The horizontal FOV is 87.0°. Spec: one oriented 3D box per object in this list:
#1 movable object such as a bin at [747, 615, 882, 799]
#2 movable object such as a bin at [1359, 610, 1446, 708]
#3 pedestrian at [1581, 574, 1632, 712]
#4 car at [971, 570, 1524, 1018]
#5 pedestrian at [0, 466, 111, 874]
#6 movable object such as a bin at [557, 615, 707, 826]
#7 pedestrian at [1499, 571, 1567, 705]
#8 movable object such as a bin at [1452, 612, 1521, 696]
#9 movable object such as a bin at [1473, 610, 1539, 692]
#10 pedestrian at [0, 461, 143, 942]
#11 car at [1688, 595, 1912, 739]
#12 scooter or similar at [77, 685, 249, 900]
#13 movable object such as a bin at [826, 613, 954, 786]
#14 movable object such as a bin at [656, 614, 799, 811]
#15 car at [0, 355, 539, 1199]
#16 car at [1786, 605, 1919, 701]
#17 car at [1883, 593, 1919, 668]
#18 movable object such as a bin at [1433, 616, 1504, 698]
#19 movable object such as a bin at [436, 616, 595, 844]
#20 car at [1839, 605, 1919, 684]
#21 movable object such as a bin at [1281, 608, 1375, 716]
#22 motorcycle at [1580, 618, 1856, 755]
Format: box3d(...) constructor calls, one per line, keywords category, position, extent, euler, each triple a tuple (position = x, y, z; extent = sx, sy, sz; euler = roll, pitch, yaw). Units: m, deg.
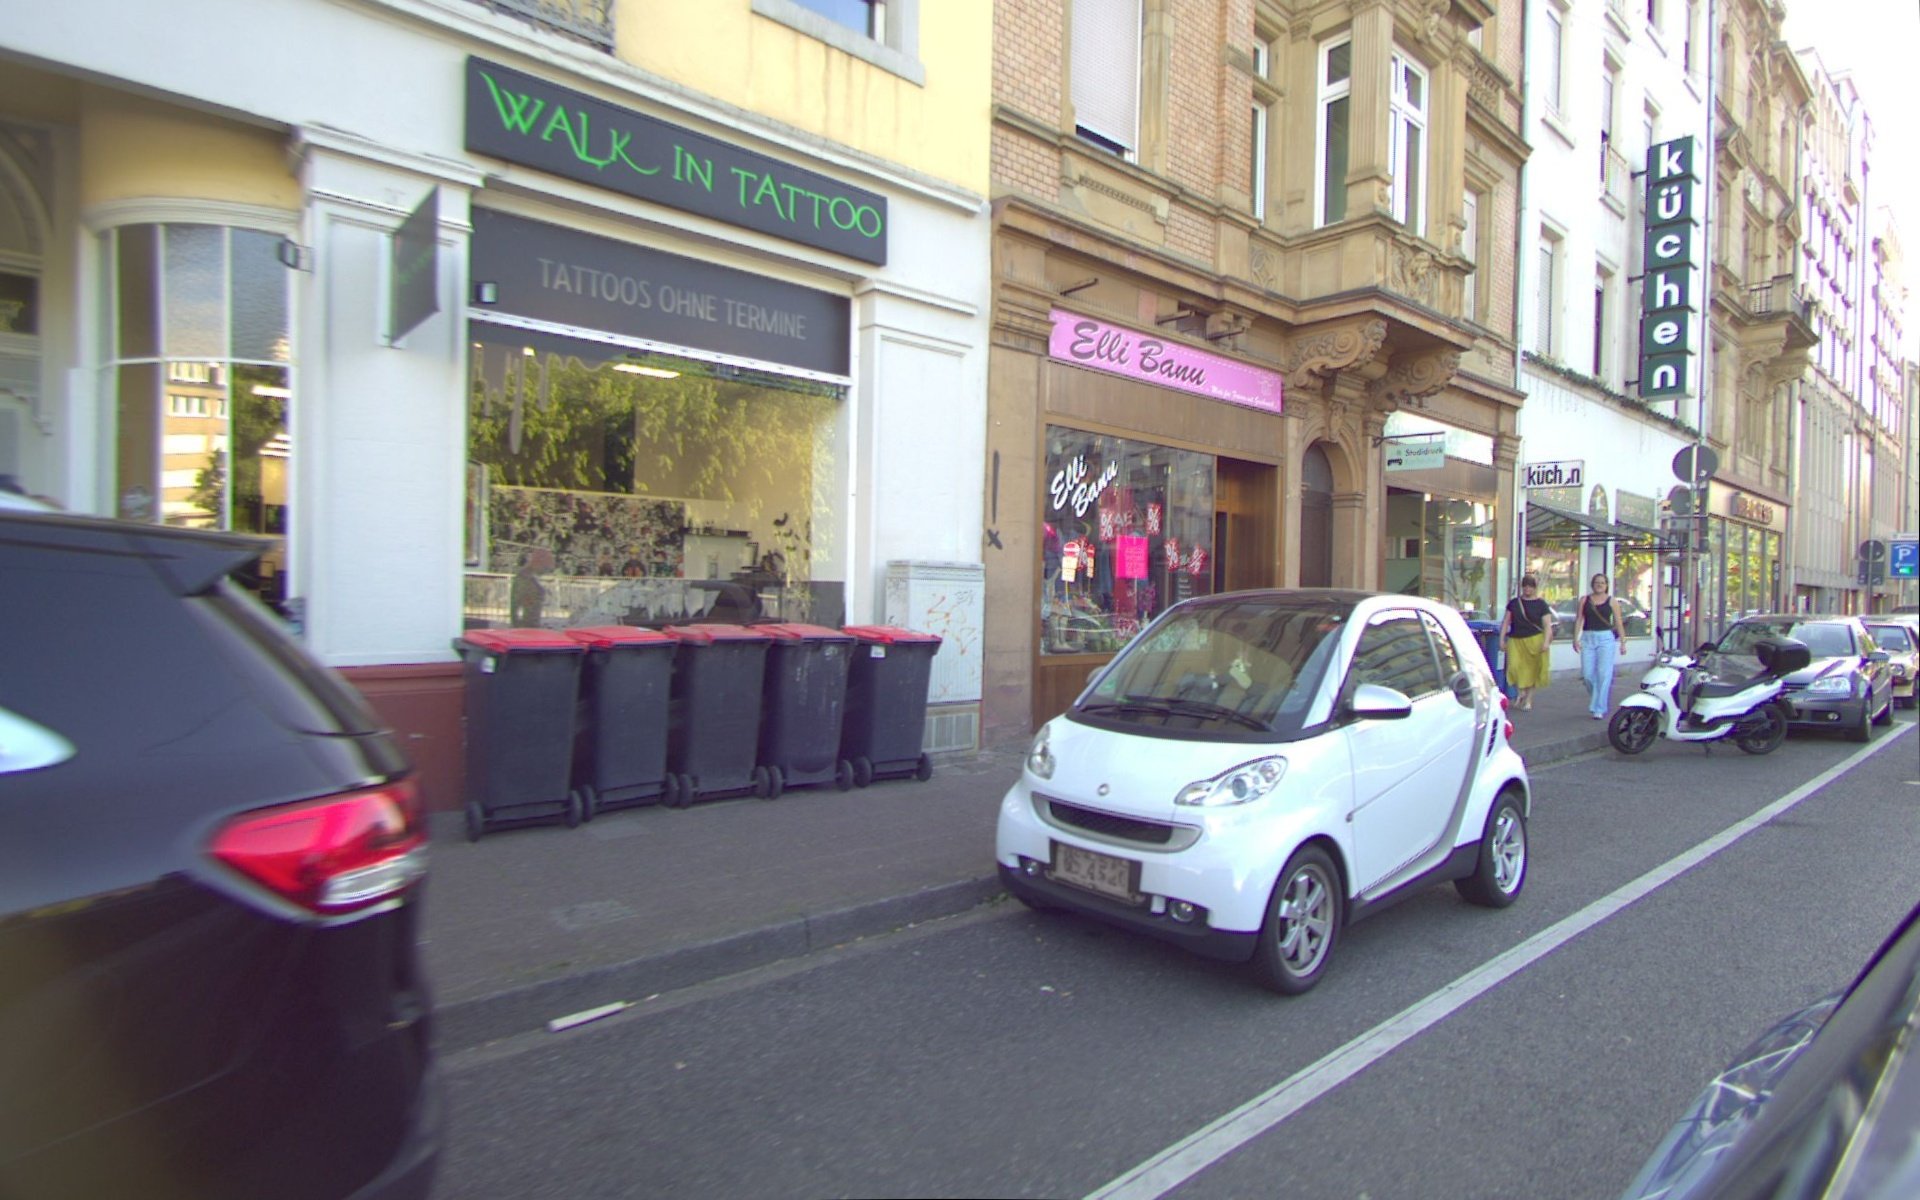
box3d(category="movable object such as a bin", position=(-0.956, 0.662, 6.612), extent=(0.608, 1.079, 0.606), euler=(1, 3, -40))
box3d(category="movable object such as a bin", position=(5.371, 0.695, 12.290), extent=(0.608, 1.084, 0.716), euler=(1, 3, -40))
box3d(category="pedestrian", position=(7.939, 0.517, 12.432), extent=(0.511, 1.653, 0.410), euler=(0, 0, 33))
box3d(category="car", position=(1.498, 0.665, 4.865), extent=(2.746, 1.537, 1.274), euler=(1, 0, -41))
box3d(category="pedestrian", position=(-4.062, 0.285, 4.346), extent=(0.334, 1.681, 0.520), euler=(2, 1, 20))
box3d(category="movable object such as a bin", position=(-1.890, 0.650, 5.819), extent=(0.608, 1.079, 0.606), euler=(1, 3, -40))
box3d(category="pedestrian", position=(7.375, 0.470, 13.031), extent=(0.616, 1.653, 0.456), euler=(3, 2, 40))
box3d(category="movable object such as a bin", position=(7.255, 0.730, 13.951), extent=(0.608, 1.086, 0.606), euler=(1, 3, -40))
box3d(category="movable object such as a bin", position=(7.804, 0.714, 14.466), extent=(0.608, 1.086, 0.606), euler=(1, 3, -40))
box3d(category="pedestrian", position=(-3.420, 0.349, 3.752), extent=(0.582, 1.681, 0.451), euler=(1, 1, -39))
box3d(category="car", position=(10.889, 0.733, 13.011), extent=(4.095, 1.537, 1.735), euler=(0, 0, -43))
box3d(category="scooter or similar", position=(-3.362, 0.784, 4.305), extent=(0.460, 0.767, 0.530), euler=(1, 2, -25))
box3d(category="movable object such as a bin", position=(-0.490, 0.655, 7.014), extent=(0.608, 1.079, 0.606), euler=(1, 3, -40))
box3d(category="movable object such as a bin", position=(-1.429, 0.650, 6.209), extent=(0.608, 1.079, 0.606), euler=(1, 3, -40))
box3d(category="car", position=(-2.922, 0.562, 0.755), extent=(4.497, 1.758, 1.756), euler=(0, 0, -44))
box3d(category="car", position=(15.428, 0.811, 17.057), extent=(3.735, 1.435, 1.736), euler=(0, 0, -41))
box3d(category="car", position=(23.615, 0.717, 24.164), extent=(3.978, 1.711, 1.894), euler=(0, 0, -41))
box3d(category="movable object such as a bin", position=(6.785, 0.746, 13.500), extent=(0.608, 1.004, 0.606), euler=(1, 3, -40))
box3d(category="movable object such as a bin", position=(-2.382, 0.650, 5.417), extent=(0.608, 1.079, 0.606), euler=(1, 3, -40))
box3d(category="car", position=(18.724, 0.825, 19.855), extent=(3.735, 1.435, 1.736), euler=(0, 0, -41))
box3d(category="movable object such as a bin", position=(4.035, 0.658, 11.116), extent=(0.608, 1.084, 0.716), euler=(1, 3, -40))
box3d(category="motorcycle", position=(7.836, 0.860, 10.567), extent=(2.137, 1.296, 0.866), euler=(1, 0, 8))
